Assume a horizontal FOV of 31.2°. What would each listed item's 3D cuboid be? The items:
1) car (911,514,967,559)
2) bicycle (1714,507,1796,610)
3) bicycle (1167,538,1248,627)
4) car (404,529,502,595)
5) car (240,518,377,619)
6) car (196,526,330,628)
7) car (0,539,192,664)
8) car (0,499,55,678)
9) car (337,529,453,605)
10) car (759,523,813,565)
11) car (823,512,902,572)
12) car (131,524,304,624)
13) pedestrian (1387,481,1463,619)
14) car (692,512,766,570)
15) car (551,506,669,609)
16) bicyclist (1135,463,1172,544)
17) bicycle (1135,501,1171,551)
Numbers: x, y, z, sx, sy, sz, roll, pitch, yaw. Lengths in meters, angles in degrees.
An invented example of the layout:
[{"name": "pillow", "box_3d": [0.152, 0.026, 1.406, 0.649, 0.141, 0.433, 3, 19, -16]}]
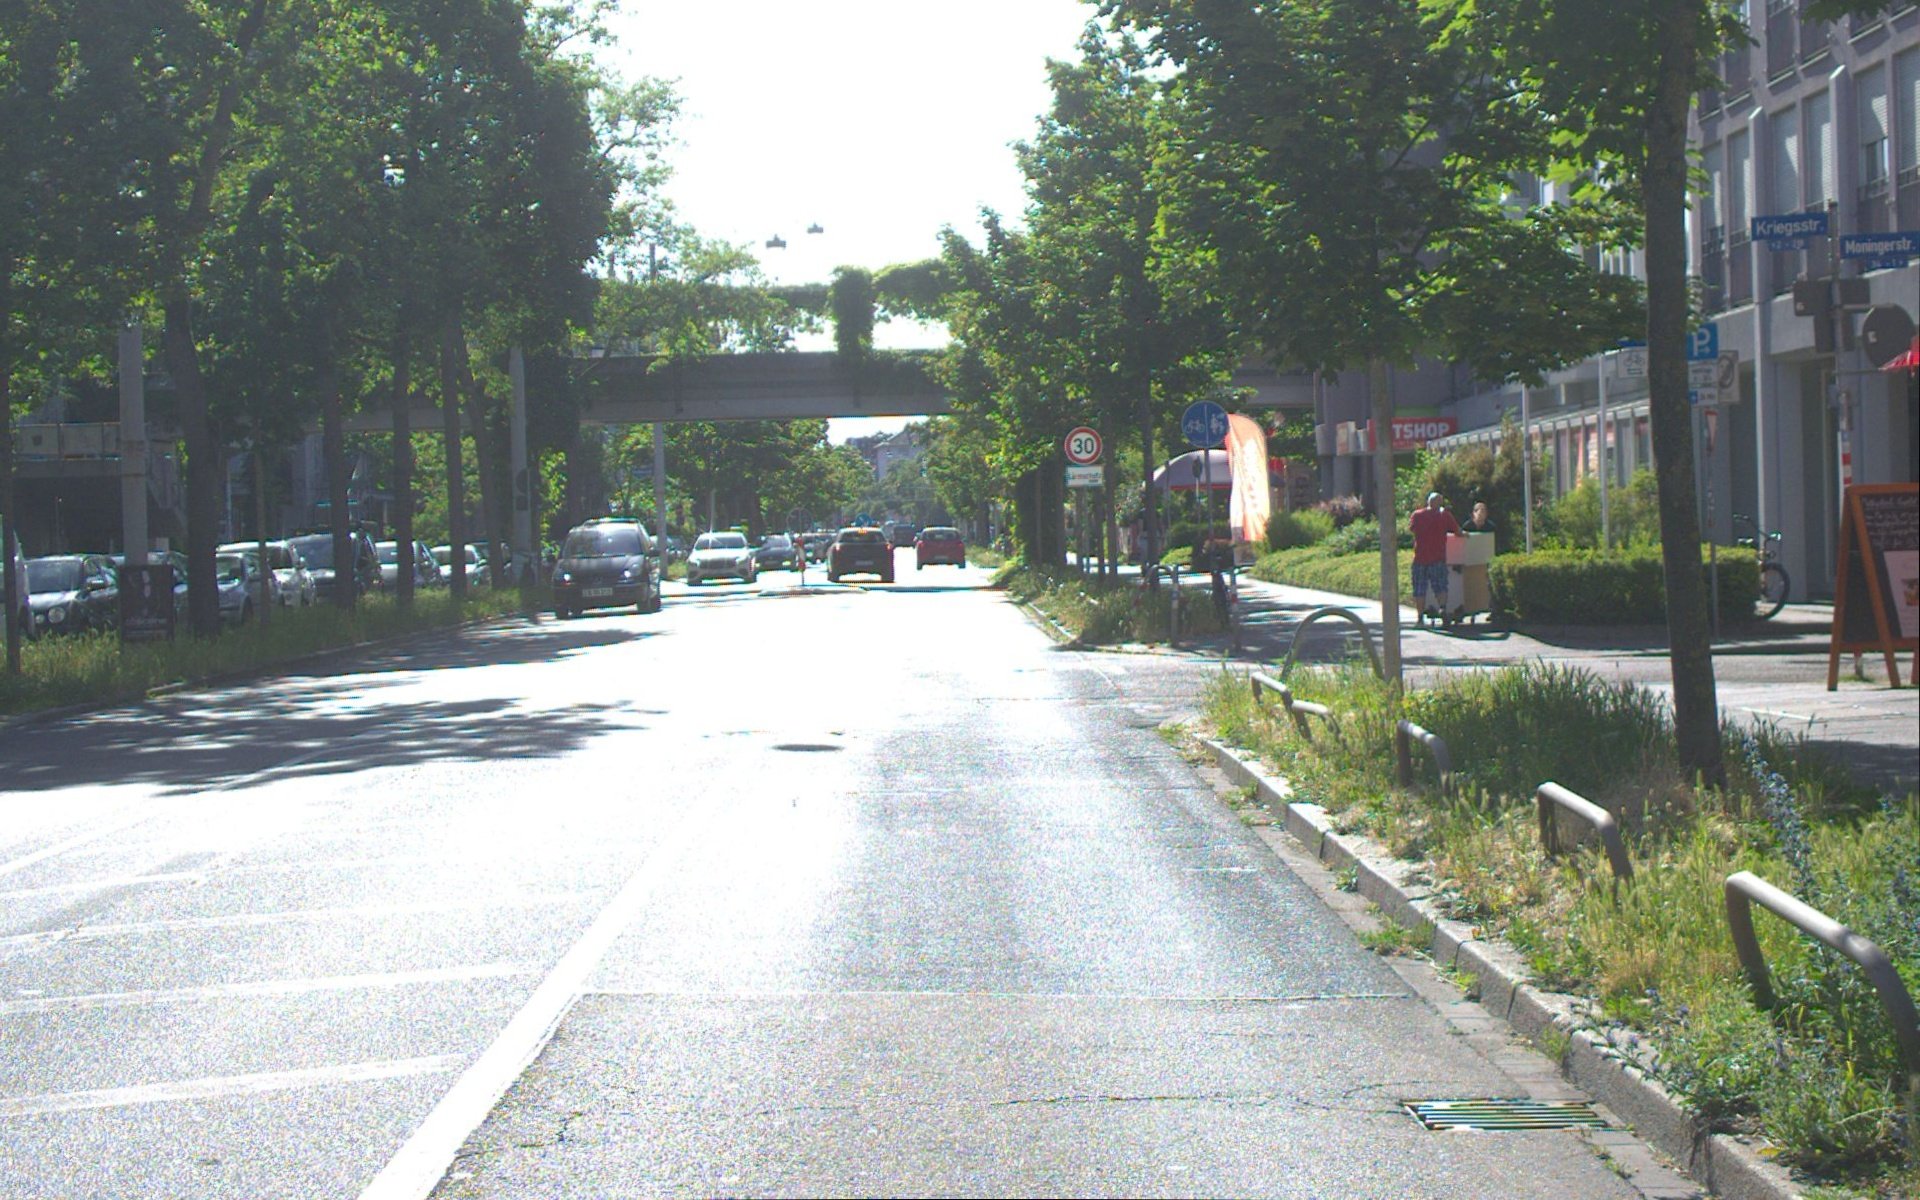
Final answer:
[{"name": "car", "box_3d": [-0.711, -2.228, 120.127, 1.856, 1.517, 4.319, -1, 2, 1]}, {"name": "bicycle", "box_3d": [9.114, -0.497, 39.471, 0.685, 1.024, 2.203, -3, 4, 8]}, {"name": "bicycle", "box_3d": [3.154, -0.234, 43.657, 0.591, 1.062, 2.021, -1, 2, 16]}, {"name": "car", "box_3d": [-12.412, -0.944, 84.360, 1.855, 1.517, 4.319, -1, 2, -1]}, {"name": "car", "box_3d": [-12.588, -0.646, 66.650, 1.855, 1.843, 4.562, -1, 2, -1]}, {"name": "car", "box_3d": [-12.293, -0.440, 60.885, 1.855, 1.678, 4.666, -1, 2, -6]}, {"name": "car", "box_3d": [-11.633, -0.020, 45.651, 1.781, 1.517, 4.319, -1, 2, 1]}, {"name": "car", "box_3d": [-12.126, -0.078, 39.952, 1.981, 2.069, 5.198, -4, 2, -3]}, {"name": "car", "box_3d": [-12.241, -0.744, 74.674, 1.856, 1.563, 3.872, -1, 2, 0]}, {"name": "car", "box_3d": [-6.625, -2.141, 131.232, 1.855, 1.435, 4.319, -4, 2, -1]}, {"name": "car", "box_3d": [-2.792, -1.660, 97.483, 1.984, 1.595, 4.141, -1, 2, -5]}, {"name": "car", "box_3d": [-12.020, -0.448, 55.921, 1.856, 1.517, 4.063, -1, 2, 1]}, {"name": "pedestrian", "box_3d": [5.593, -0.601, 41.348, 0.653, 1.598, 0.603, -5, 1, -6]}, {"name": "car", "box_3d": [-6.742, -1.750, 100.794, 1.855, 1.562, 4.716, -3, 2, -1]}, {"name": "car", "box_3d": [-6.765, -0.853, 66.818, 1.855, 1.818, 4.610, -4, 2, -2]}, {"name": "bicyclist", "box_3d": [4.102, -2.032, 72.849, 0.667, 1.689, 0.889, -1, 1, -2]}, {"name": "bicycle", "box_3d": [4.095, -1.564, 72.975, 0.589, 1.024, 1.860, -2, 1, -1]}]
